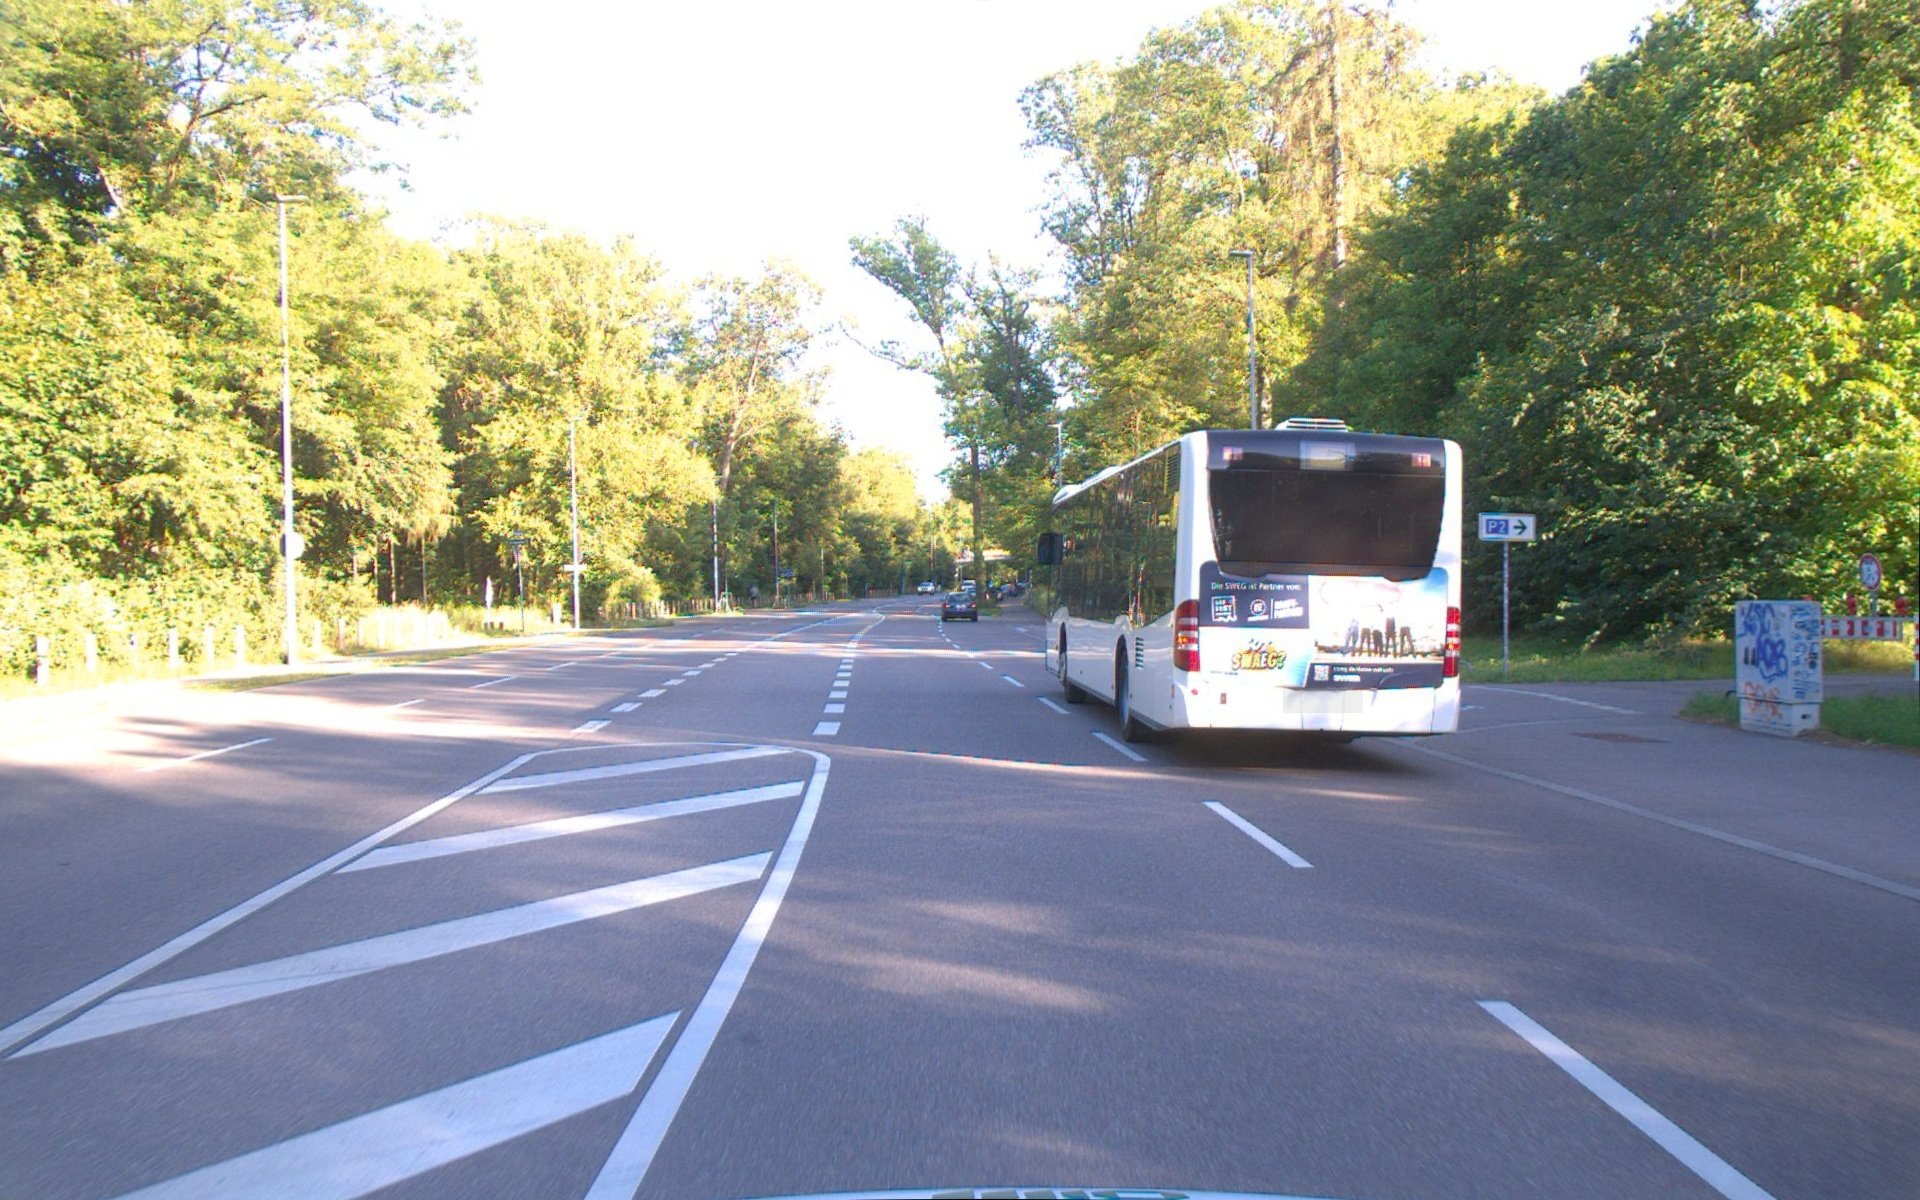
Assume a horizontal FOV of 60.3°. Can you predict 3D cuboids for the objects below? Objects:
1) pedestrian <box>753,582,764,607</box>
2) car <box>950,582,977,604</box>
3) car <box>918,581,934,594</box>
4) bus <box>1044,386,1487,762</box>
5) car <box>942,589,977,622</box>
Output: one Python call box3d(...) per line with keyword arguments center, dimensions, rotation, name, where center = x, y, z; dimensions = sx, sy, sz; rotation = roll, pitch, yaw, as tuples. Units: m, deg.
box3d(center=(-15.014, -0.444, 123.236), dimensions=(0.763, 1.844, 0.770), rotation=(-1, 0, -2), name="pedestrian")
box3d(center=(0.288, -0.545, 125.949), dimensions=(1.597, 1.687, 4.135), rotation=(0, 0, 7), name="car")
box3d(center=(-4.382, -1.607, 211.558), dimensions=(1.824, 1.564, 4.133), rotation=(0, 0, 2), name="car")
box3d(center=(2.839, -0.229, 19.688), dimensions=(2.635, 3.096, 12.036), rotation=(0, 0, -2), name="bus")
box3d(center=(-0.014, 0.248, 81.219), dimensions=(1.598, 1.574, 4.133), rotation=(0, 0, 2), name="car")
